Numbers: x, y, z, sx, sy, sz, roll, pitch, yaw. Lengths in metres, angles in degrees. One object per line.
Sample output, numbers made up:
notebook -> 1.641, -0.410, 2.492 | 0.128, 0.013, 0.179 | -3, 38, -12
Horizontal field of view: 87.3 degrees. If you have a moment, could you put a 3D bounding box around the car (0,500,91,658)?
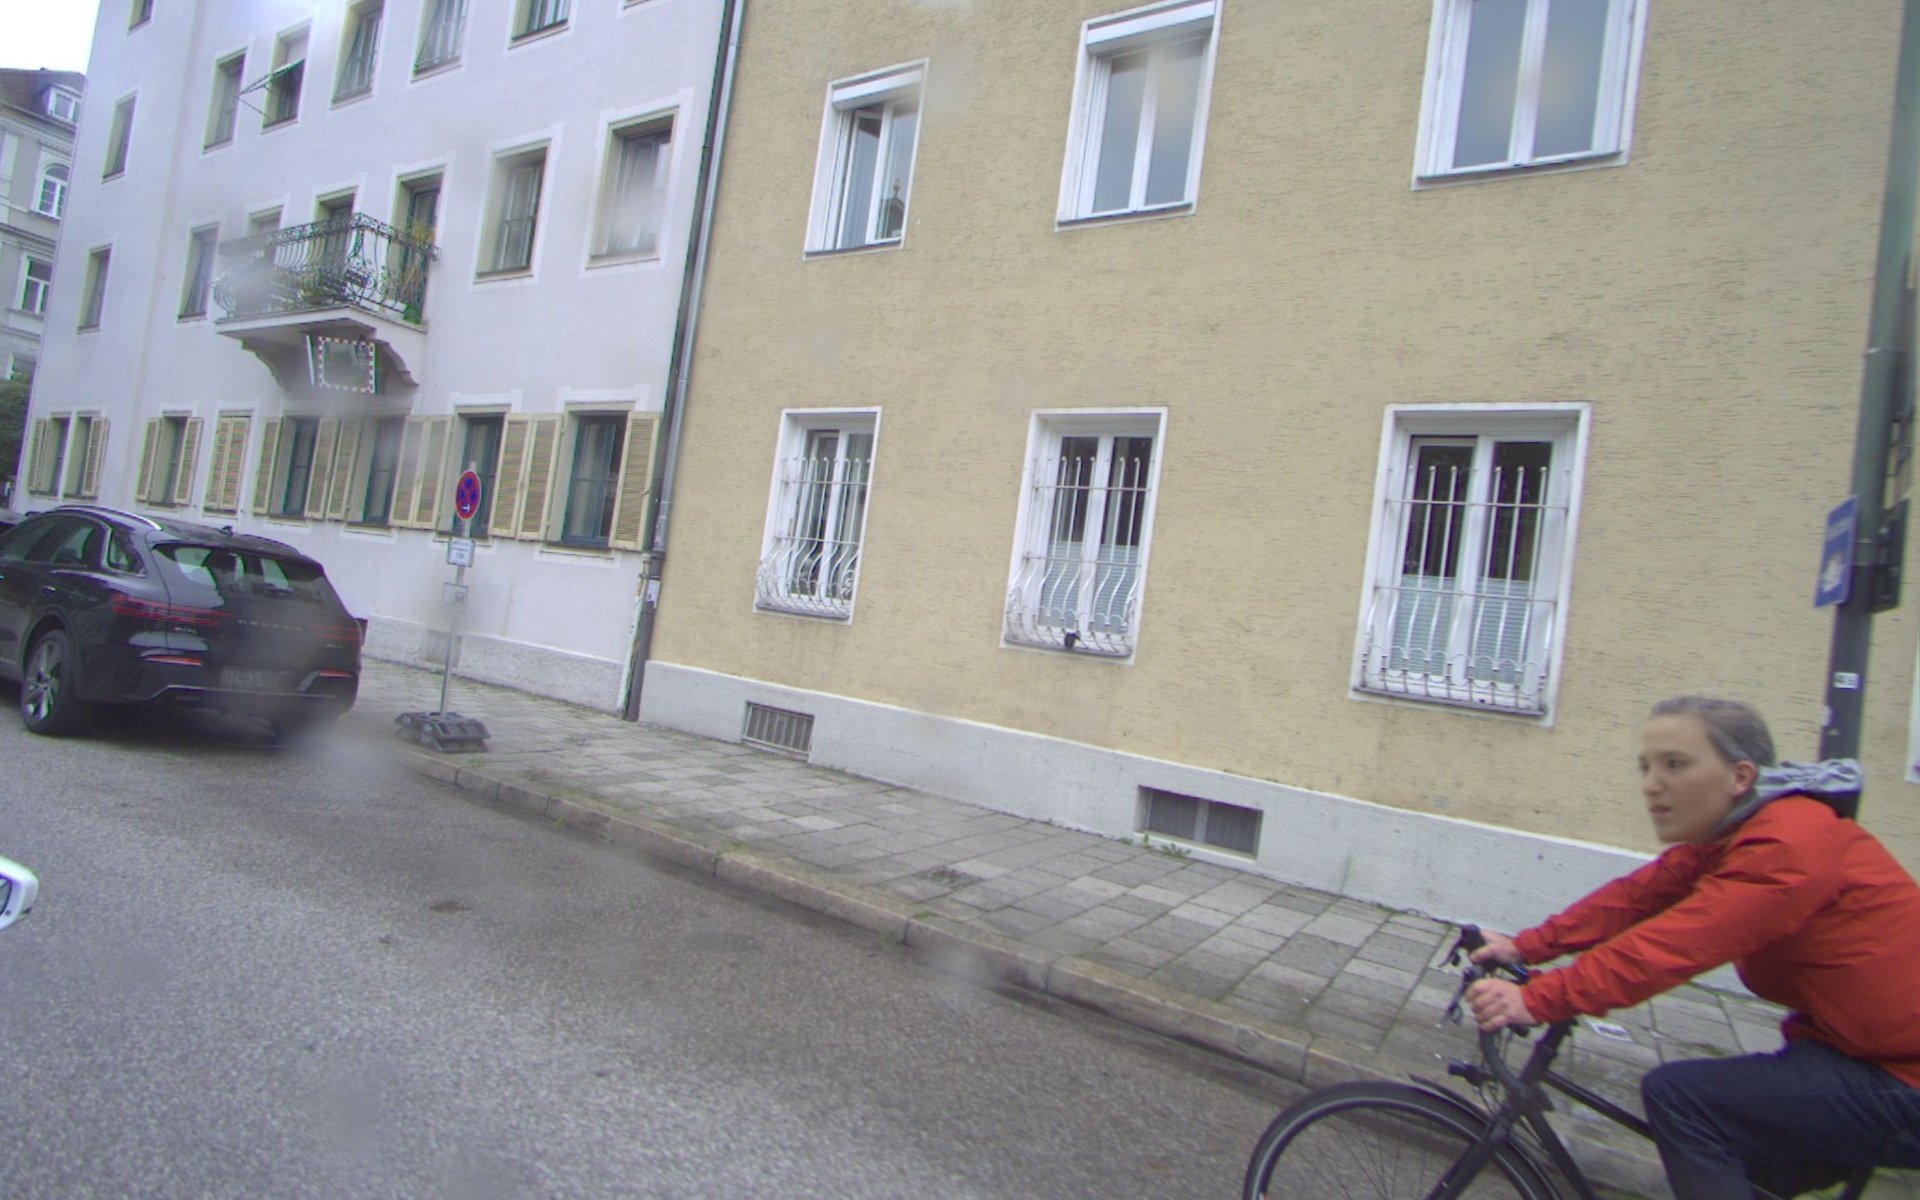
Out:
car -> -11.639, -0.453, 11.156 | 4.345, 1.549, 1.841 | 6, -2, 34

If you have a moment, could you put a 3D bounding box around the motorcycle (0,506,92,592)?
motorcycle -> -18.676, -1.062, 20.293 | 2.662, 1.449, 0.859 | 7, -2, 31

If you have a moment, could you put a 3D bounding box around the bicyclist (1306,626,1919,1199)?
bicyclist -> 1.313, 0.893, 2.066 | 0.964, 1.498, 0.757 | 7, -4, 28

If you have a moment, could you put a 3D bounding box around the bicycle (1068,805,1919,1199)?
bicycle -> 1.288, 1.198, 2.038 | 1.976, 1.153, 0.675 | 6, -4, 28

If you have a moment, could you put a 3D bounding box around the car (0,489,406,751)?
car -> -7.048, 0.030, 8.446 | 4.817, 1.595, 1.865 | 7, -2, 30
